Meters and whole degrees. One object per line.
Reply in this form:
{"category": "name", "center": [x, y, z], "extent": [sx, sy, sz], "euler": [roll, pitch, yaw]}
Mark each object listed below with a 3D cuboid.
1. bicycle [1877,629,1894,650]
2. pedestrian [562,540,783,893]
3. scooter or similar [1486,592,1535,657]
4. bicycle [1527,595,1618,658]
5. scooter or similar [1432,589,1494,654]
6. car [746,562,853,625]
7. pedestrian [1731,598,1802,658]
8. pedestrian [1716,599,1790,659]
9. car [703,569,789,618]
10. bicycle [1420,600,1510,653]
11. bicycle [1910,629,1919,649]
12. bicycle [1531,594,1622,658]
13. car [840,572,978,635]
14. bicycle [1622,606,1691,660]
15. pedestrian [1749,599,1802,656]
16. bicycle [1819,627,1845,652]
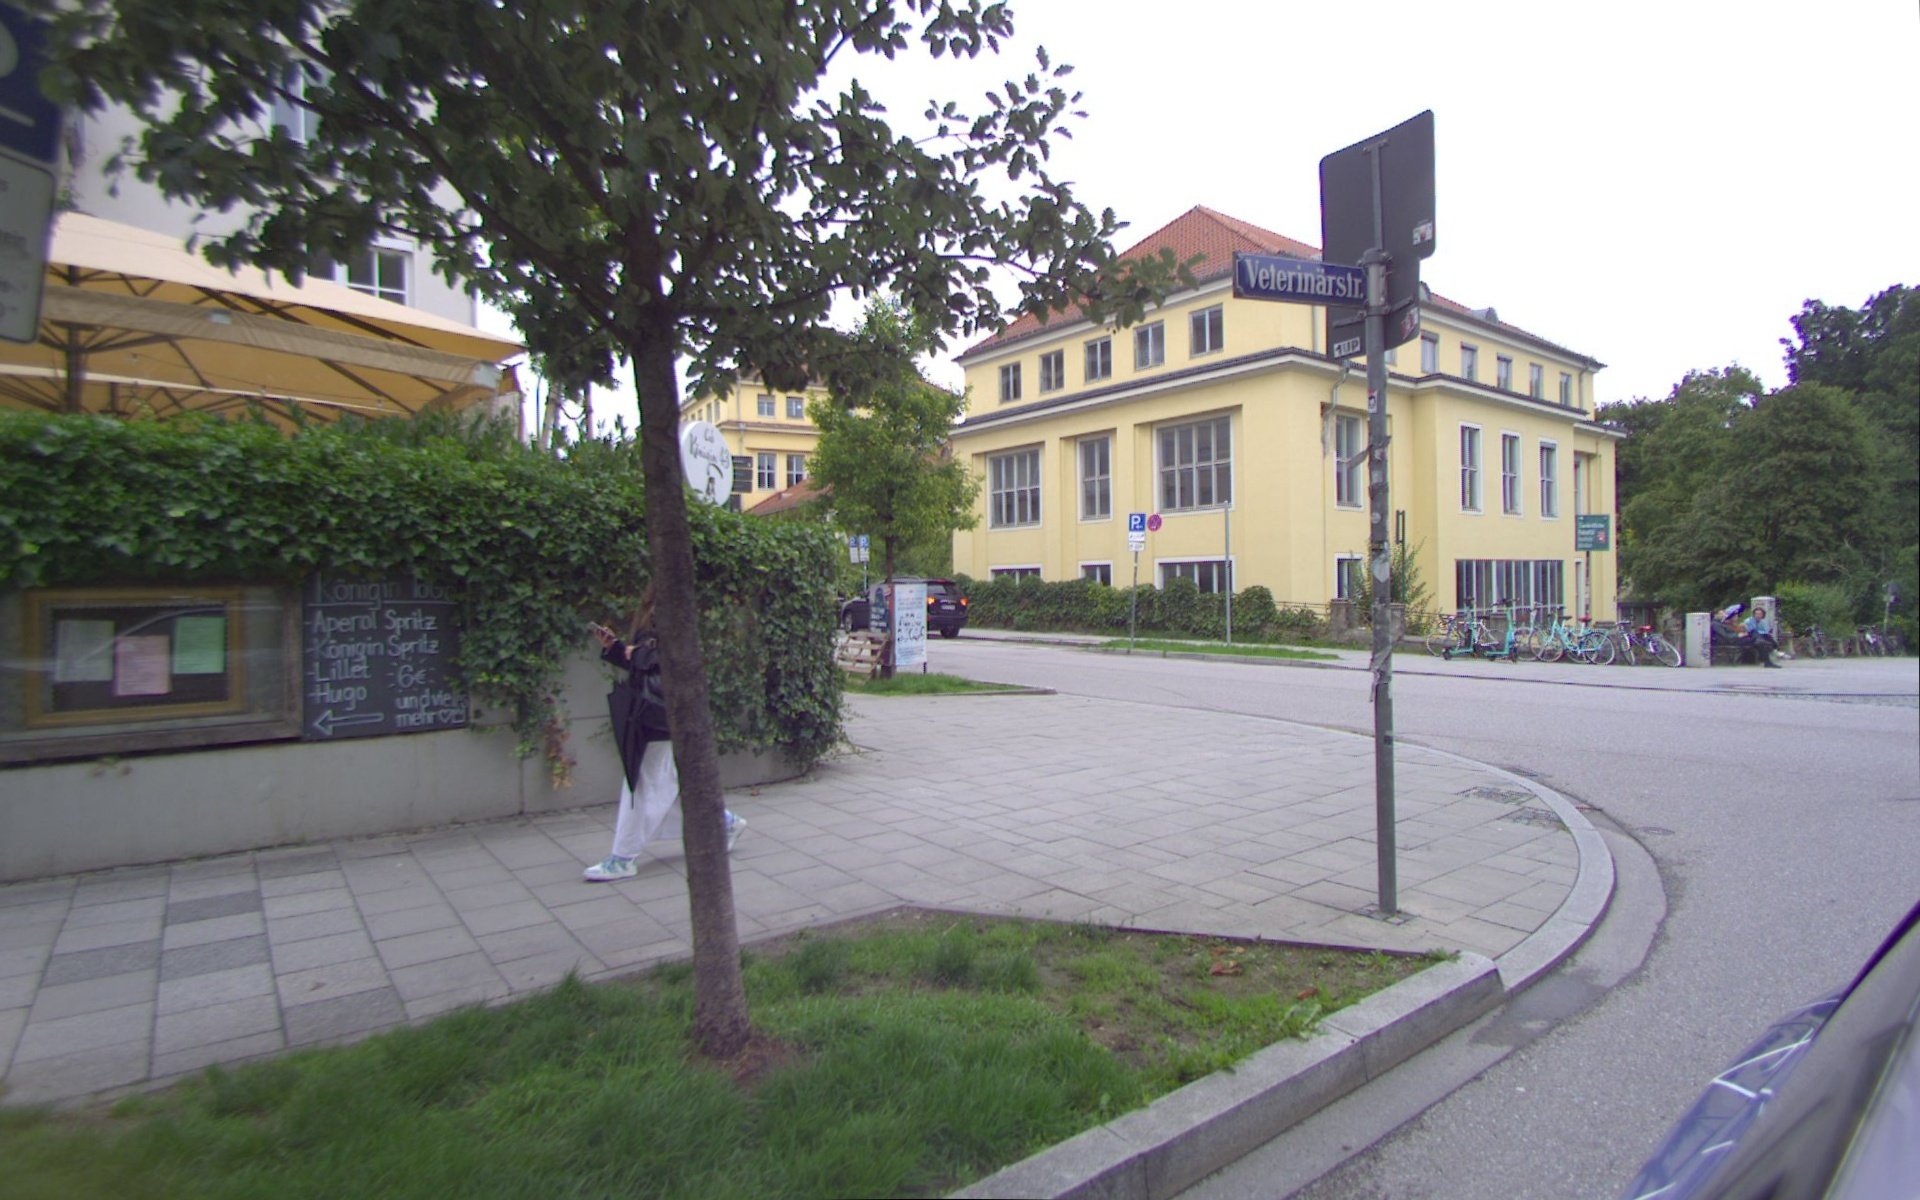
{"category": "bicycle", "center": [30.082, 1.279, 32.886], "extent": [0.892, 0.684, 0.215], "euler": [2, 0, -35]}
{"category": "pedestrian", "center": [-1.494, 0.525, 5.256], "extent": [0.865, 1.642, 0.706], "euler": [-2, 1, -39]}
{"category": "scooter or similar", "center": [10.672, 0.458, 19.646], "extent": [0.317, 1.228, 1.118], "euler": [1, 0, -1]}
{"category": "bicycle", "center": [12.424, 0.530, 20.551], "extent": [1.624, 1.206, 0.202], "euler": [2, 0, 4]}
{"category": "scooter or similar", "center": [10.057, 0.423, 20.238], "extent": [1.362, 1.264, 0.397], "euler": [1, 0, -29]}
{"category": "car", "center": [-5.795, -0.216, 36.115], "extent": [1.939, 2.098, 4.683], "euler": [1, 0, -34]}
{"category": "pedestrian", "center": [17.866, 0.623, 22.422], "extent": [1.173, 1.310, 0.629], "euler": [-1, -4, 42]}
{"category": "pedestrian", "center": [17.126, 0.632, 21.865], "extent": [1.212, 1.264, 0.629], "euler": [-1, -4, 42]}
{"category": "car", "center": [-8.709, -0.254, 40.803], "extent": [1.937, 1.859, 4.686], "euler": [1, 0, -31]}
{"category": "bicycle", "center": [10.511, 0.542, 21.089], "extent": [1.640, 1.006, 0.246], "euler": [3, 0, 29]}
{"category": "bicycle", "center": [33.657, 1.366, 35.543], "extent": [0.892, 0.665, 0.242], "euler": [2, 0, -37]}
{"category": "bicycle", "center": [12.399, 0.524, 20.354], "extent": [1.624, 1.213, 0.169], "euler": [2, 0, 4]}
{"category": "car", "center": [-1.609, 0.074, 30.197], "extent": [1.900, 1.730, 4.625], "euler": [1, 0, -36]}
{"category": "bicycle", "center": [14.321, 0.679, 20.800], "extent": [1.619, 1.051, 0.308], "euler": [2, 0, -23]}
{"category": "pedestrian", "center": [18.380, 0.631, 22.803], "extent": [0.884, 1.251, 0.542], "euler": [-2, -4, 42]}
{"category": "bicycle", "center": [24.684, 1.108, 28.641], "extent": [0.890, 0.684, 0.216], "euler": [2, 0, -26]}
